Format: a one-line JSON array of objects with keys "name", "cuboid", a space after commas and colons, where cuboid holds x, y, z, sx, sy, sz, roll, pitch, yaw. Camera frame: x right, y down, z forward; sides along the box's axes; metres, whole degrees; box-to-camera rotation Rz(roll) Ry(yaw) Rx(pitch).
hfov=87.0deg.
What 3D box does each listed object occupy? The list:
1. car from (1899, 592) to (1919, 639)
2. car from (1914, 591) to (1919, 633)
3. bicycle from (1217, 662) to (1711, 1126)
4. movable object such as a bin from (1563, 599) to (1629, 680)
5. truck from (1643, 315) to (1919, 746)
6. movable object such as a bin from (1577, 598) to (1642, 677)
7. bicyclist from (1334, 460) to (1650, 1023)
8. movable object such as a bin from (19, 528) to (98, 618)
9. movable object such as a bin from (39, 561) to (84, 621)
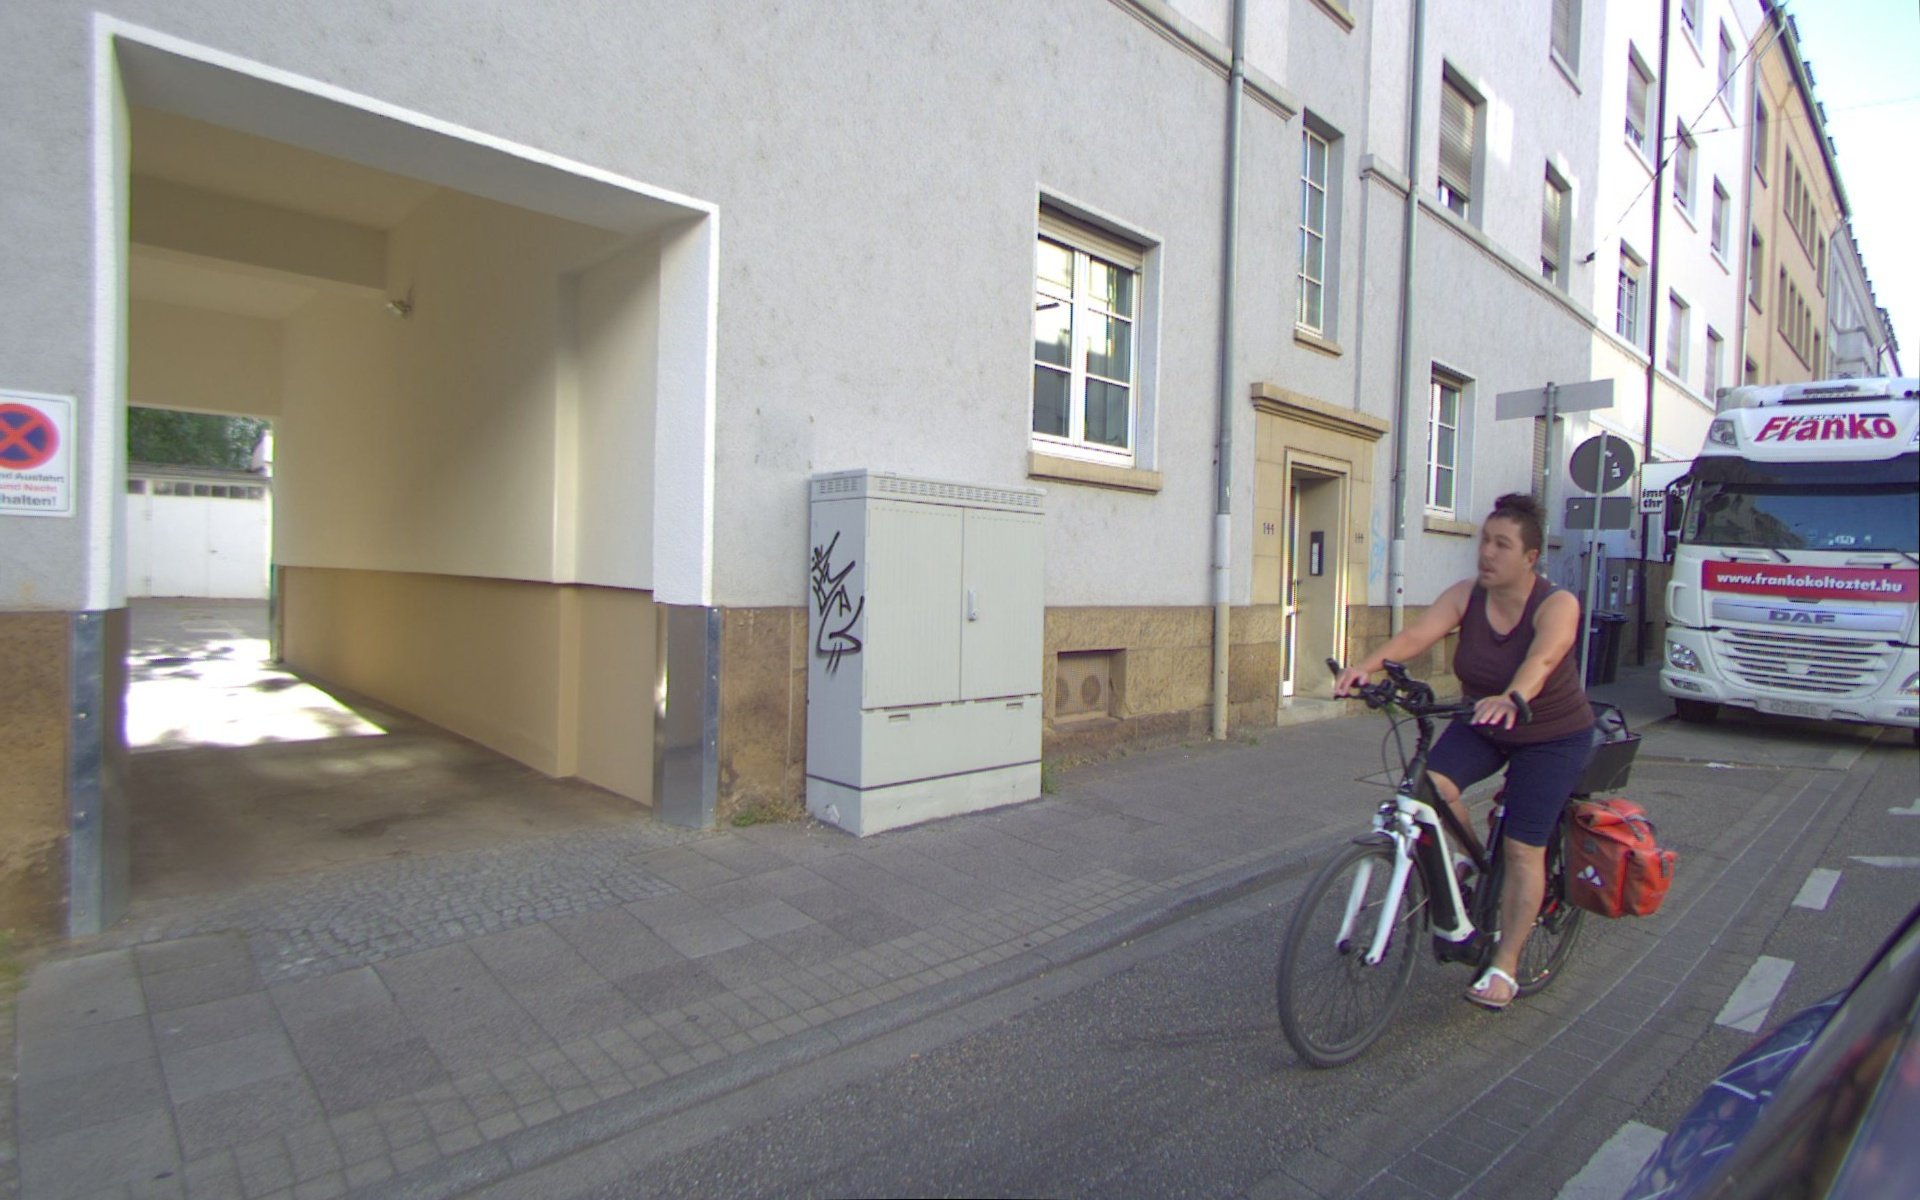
[{"name": "car", "cuboid": [33.498, 0.530, 34.730, 4.080, 1.551, 1.681, 0, 0, -44]}, {"name": "car", "cuboid": [37.668, 0.463, 38.628, 4.080, 1.551, 1.681, 0, 0, -44]}, {"name": "bicycle", "cuboid": [1.763, 0.822, 3.424, 1.849, 1.117, 0.619, 1, 1, -33]}, {"name": "movable object such as a bin", "cuboid": [9.165, 0.550, 14.584, 0.560, 1.107, 0.665, 0, 2, -43]}, {"name": "truck", "cuboid": [12.570, -0.680, 13.877, 11.621, 3.975, 2.778, 0, 2, -44]}, {"name": "movable object such as a bin", "cuboid": [9.644, 0.542, 15.035, 0.560, 1.107, 0.665, 0, 2, -43]}, {"name": "bicyclist", "cuboid": [1.788, 0.406, 3.421, 0.745, 1.650, 0.619, 1, 1, -33]}, {"name": "movable object such as a bin", "cuboid": [-15.159, -0.458, 17.013, 0.946, 1.426, 1.597, 0, 2, -43]}, {"name": "movable object such as a bin", "cuboid": [-14.383, -0.151, 16.194, 0.518, 0.922, 0.580, 0, 2, -43]}]
